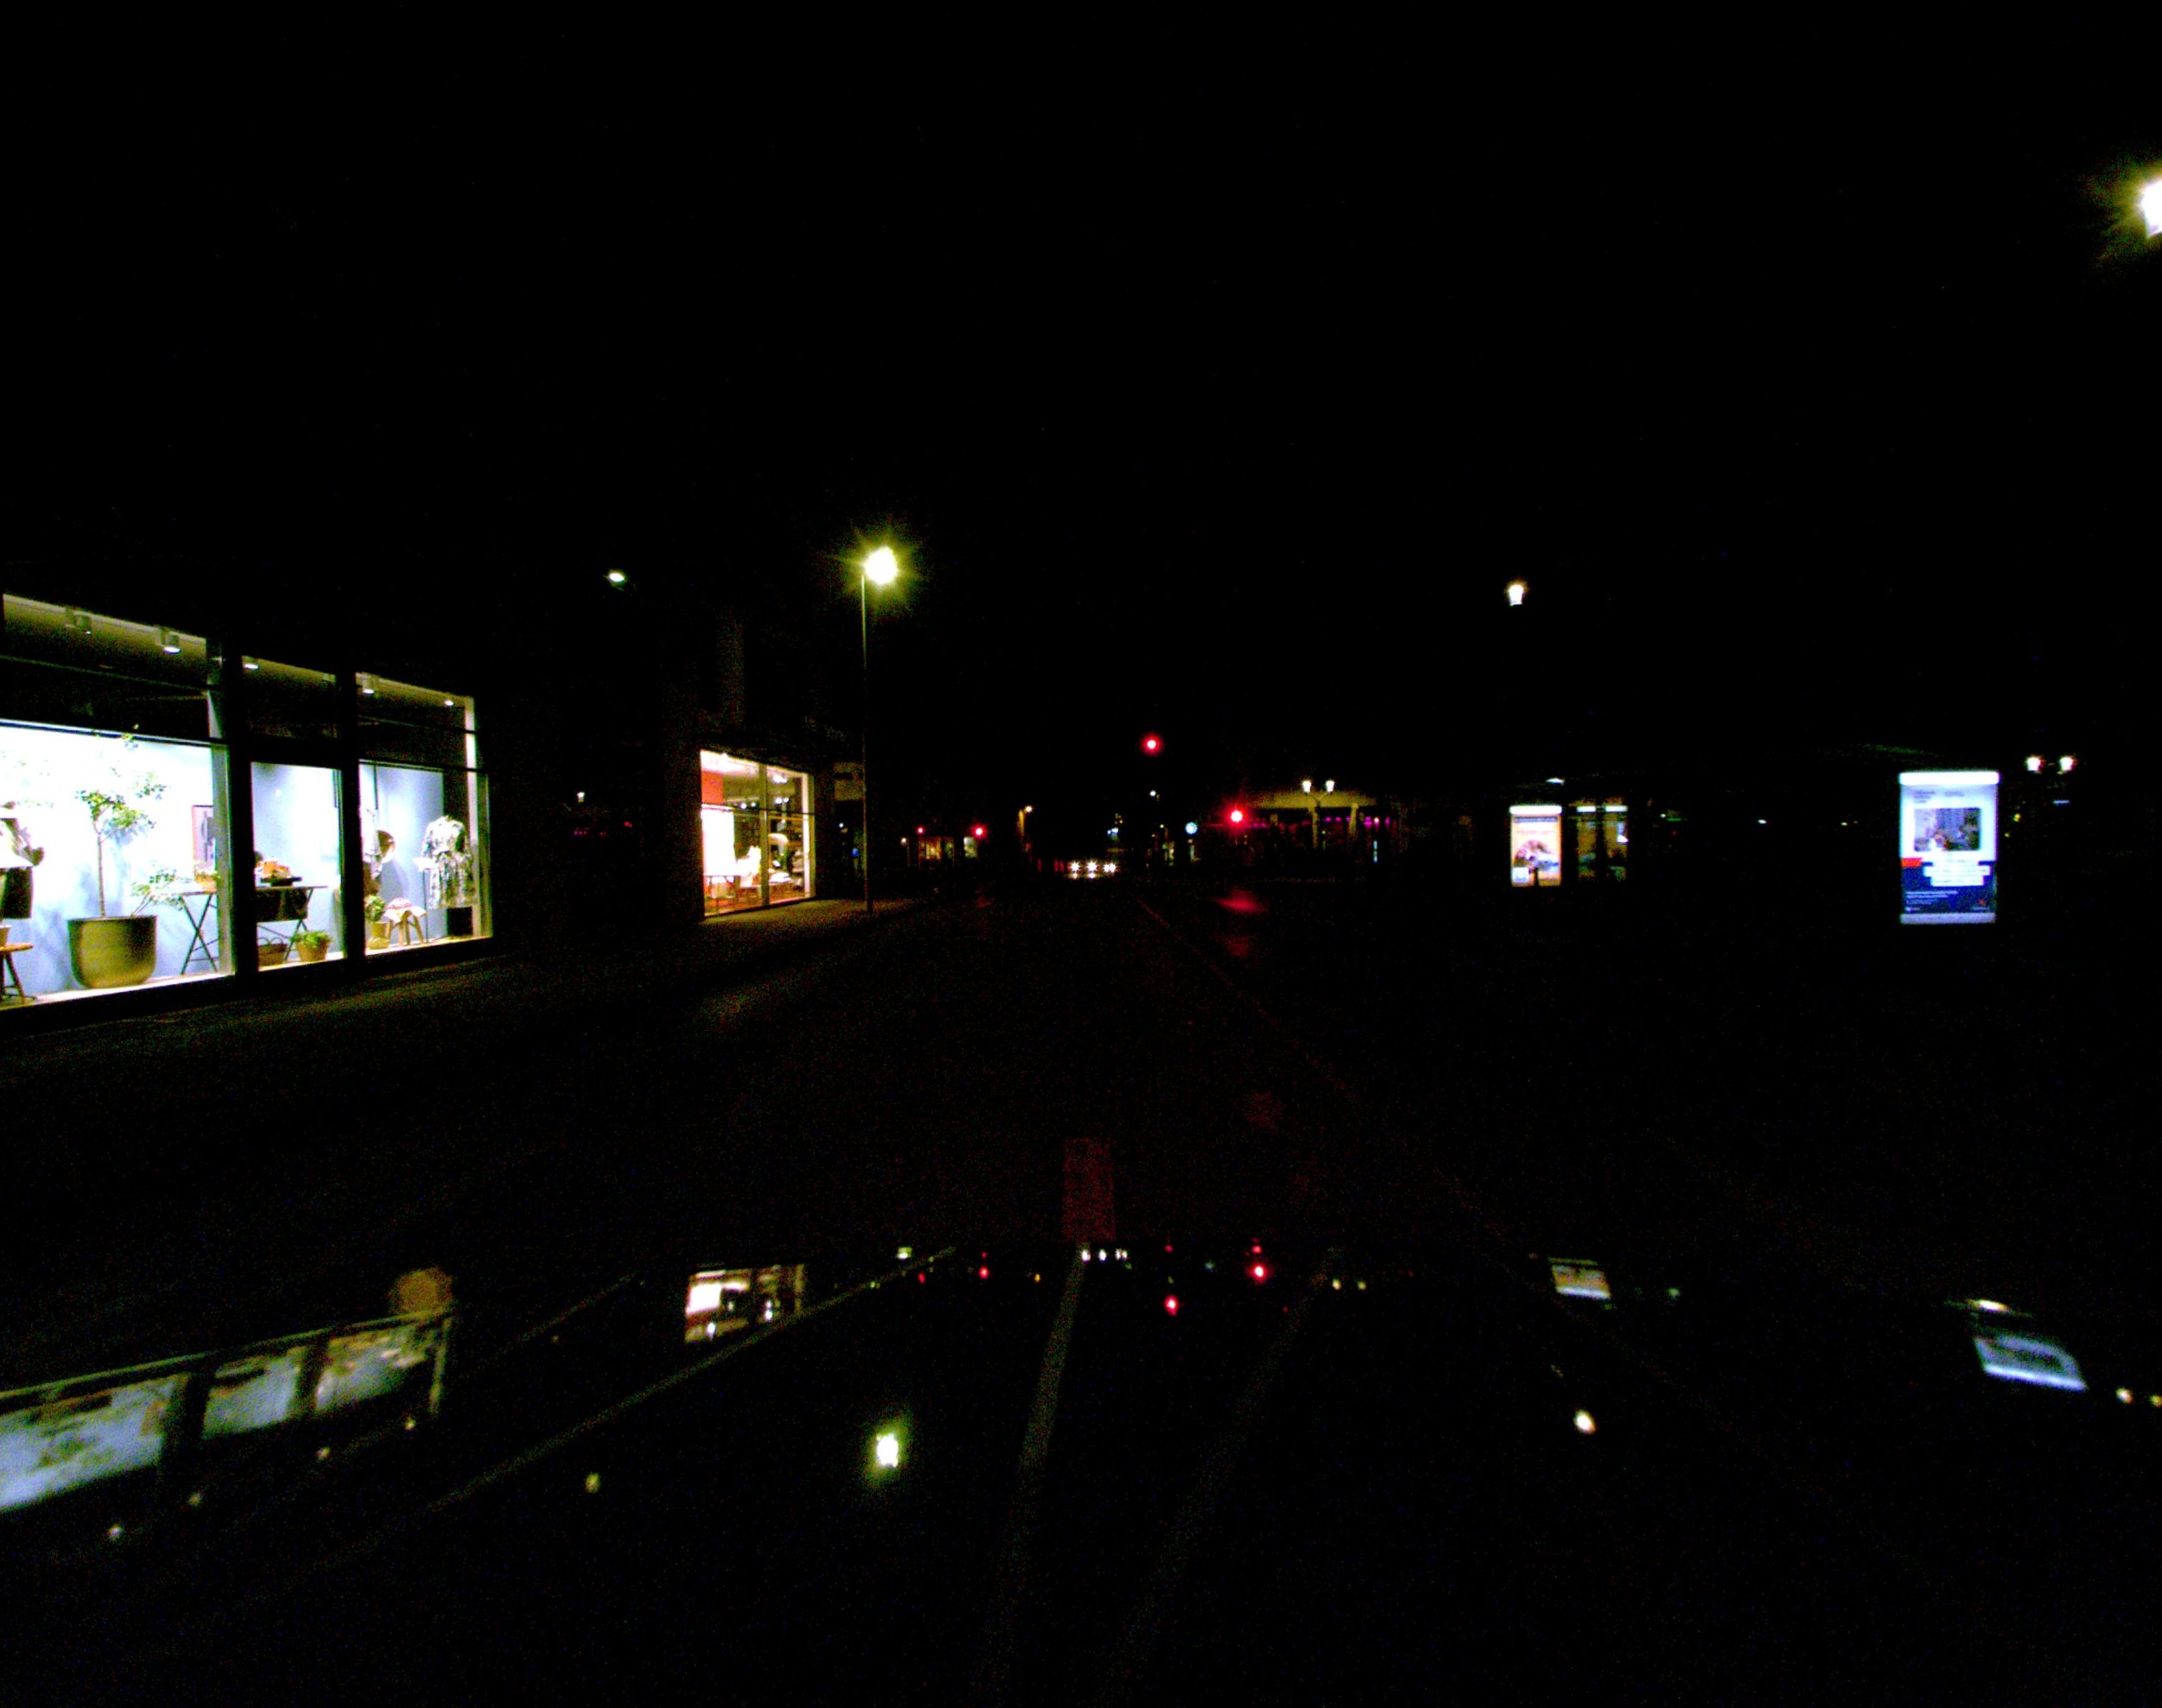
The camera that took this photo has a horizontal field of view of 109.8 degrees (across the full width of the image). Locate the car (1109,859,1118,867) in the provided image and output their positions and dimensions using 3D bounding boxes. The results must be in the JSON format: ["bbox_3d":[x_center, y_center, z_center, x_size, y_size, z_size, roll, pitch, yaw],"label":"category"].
[{"bbox_3d":[7.527,2.035,176.092,1.879,1.718,3.999,-2,1,1],"label":"car"}]

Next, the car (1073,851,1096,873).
[{"bbox_3d":[0.323,0.656,64.269,1.713,1.660,3.738,-2,1,3],"label":"car"}]

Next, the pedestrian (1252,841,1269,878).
[{"bbox_3d":[8.195,0.247,34.689,0.582,1.672,0.648,-2,1,22],"label":"pedestrian"}]

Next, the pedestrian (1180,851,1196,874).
[{"bbox_3d":[6.989,0.545,49.580,0.648,1.487,0.827,-1,1,-32],"label":"pedestrian"}]

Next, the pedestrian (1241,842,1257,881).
[{"bbox_3d":[7.346,0.312,33.188,0.539,1.672,0.648,-2,1,23],"label":"pedestrian"}]

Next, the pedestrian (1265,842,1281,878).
[{"bbox_3d":[8.717,0.272,34.469,0.582,1.619,0.648,-2,1,23],"label":"pedestrian"}]

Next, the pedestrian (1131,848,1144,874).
[{"bbox_3d":[3.798,0.488,50.876,0.877,1.723,0.647,0,1,4],"label":"pedestrian"}]
